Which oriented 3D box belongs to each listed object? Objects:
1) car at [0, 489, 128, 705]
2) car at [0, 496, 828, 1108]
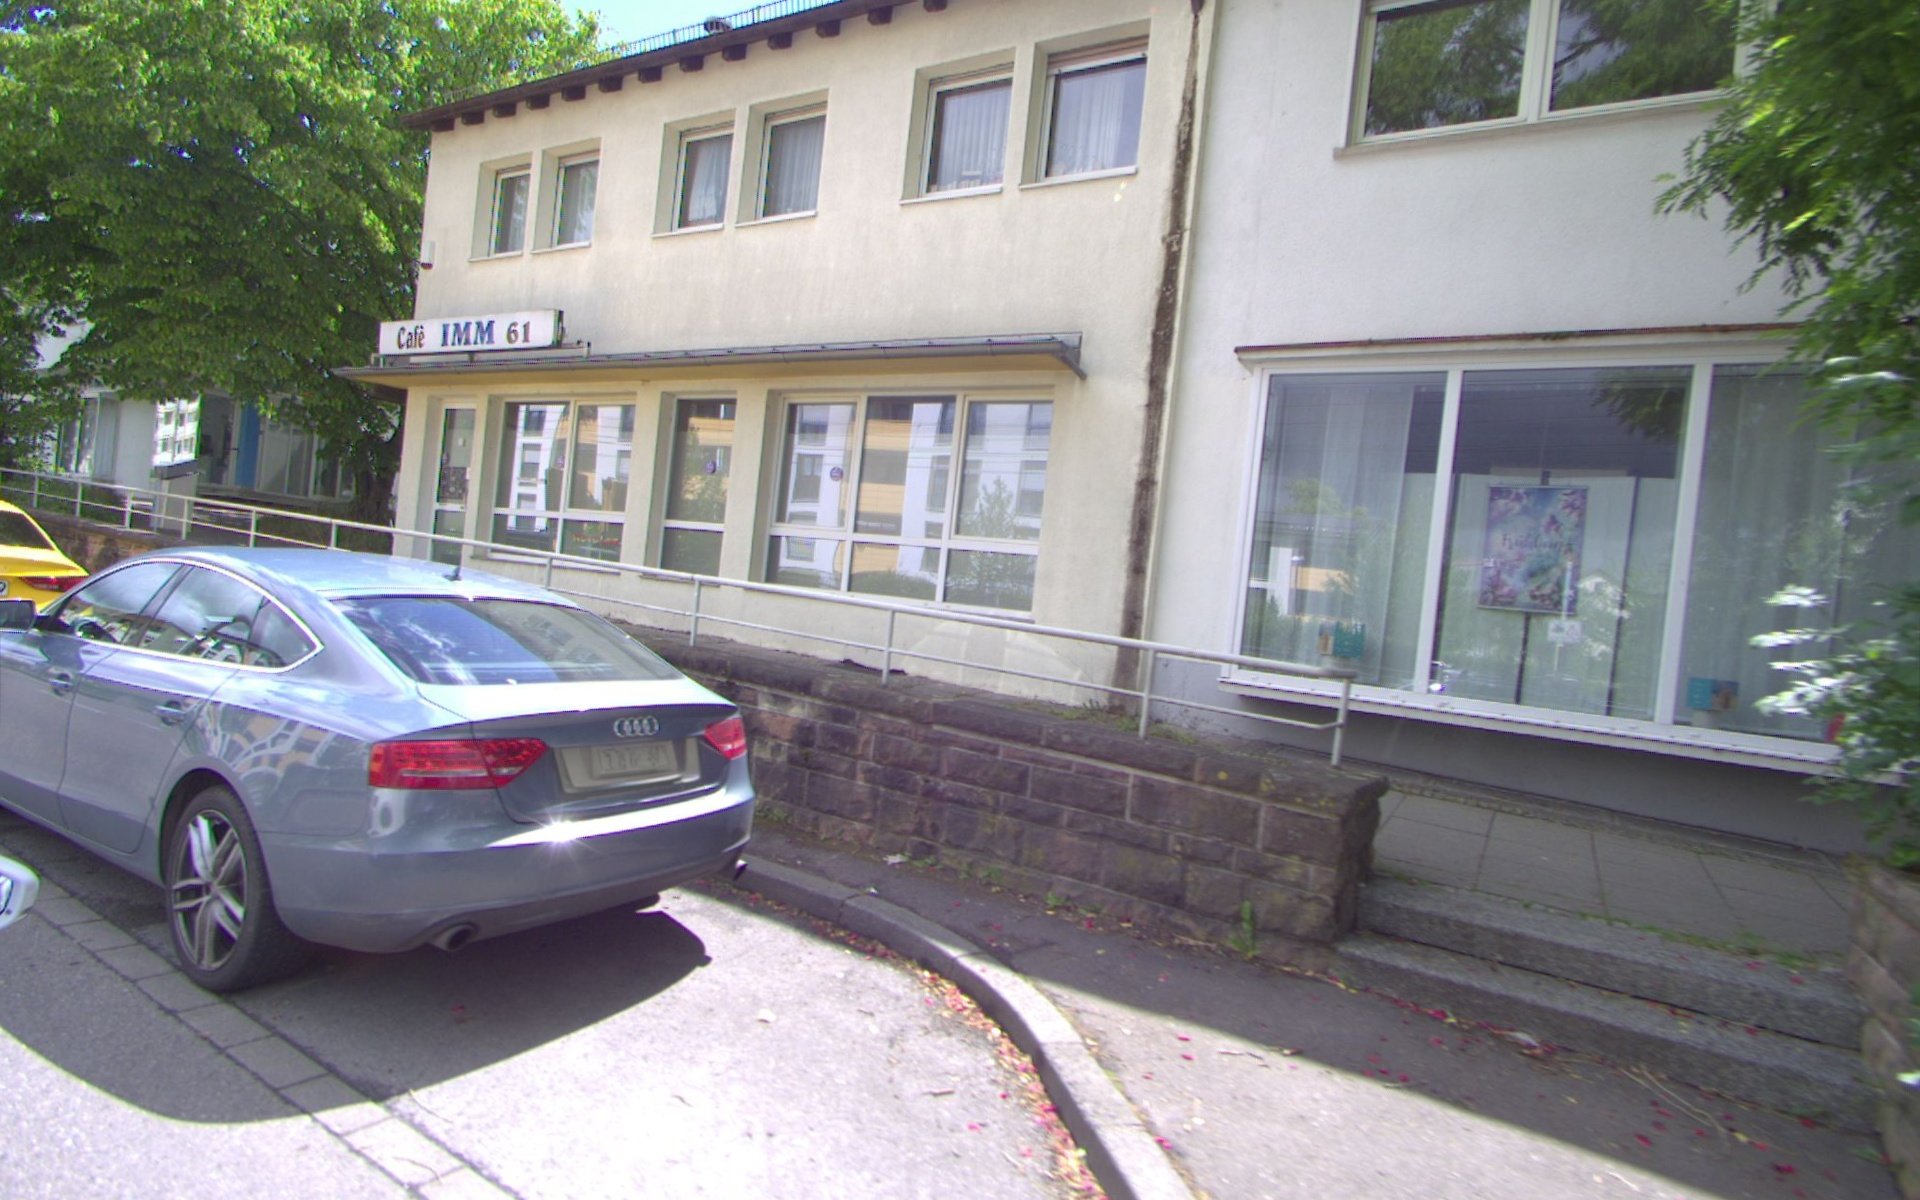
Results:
[{"bbox_3d":[-8.426,-0.227,7.793,4.269,1.461,1.756,7,1,32],"label":"car"},{"bbox_3d":[-2.943,0.434,4.498,4.418,1.460,1.757,7,1,30],"label":"car"}]
